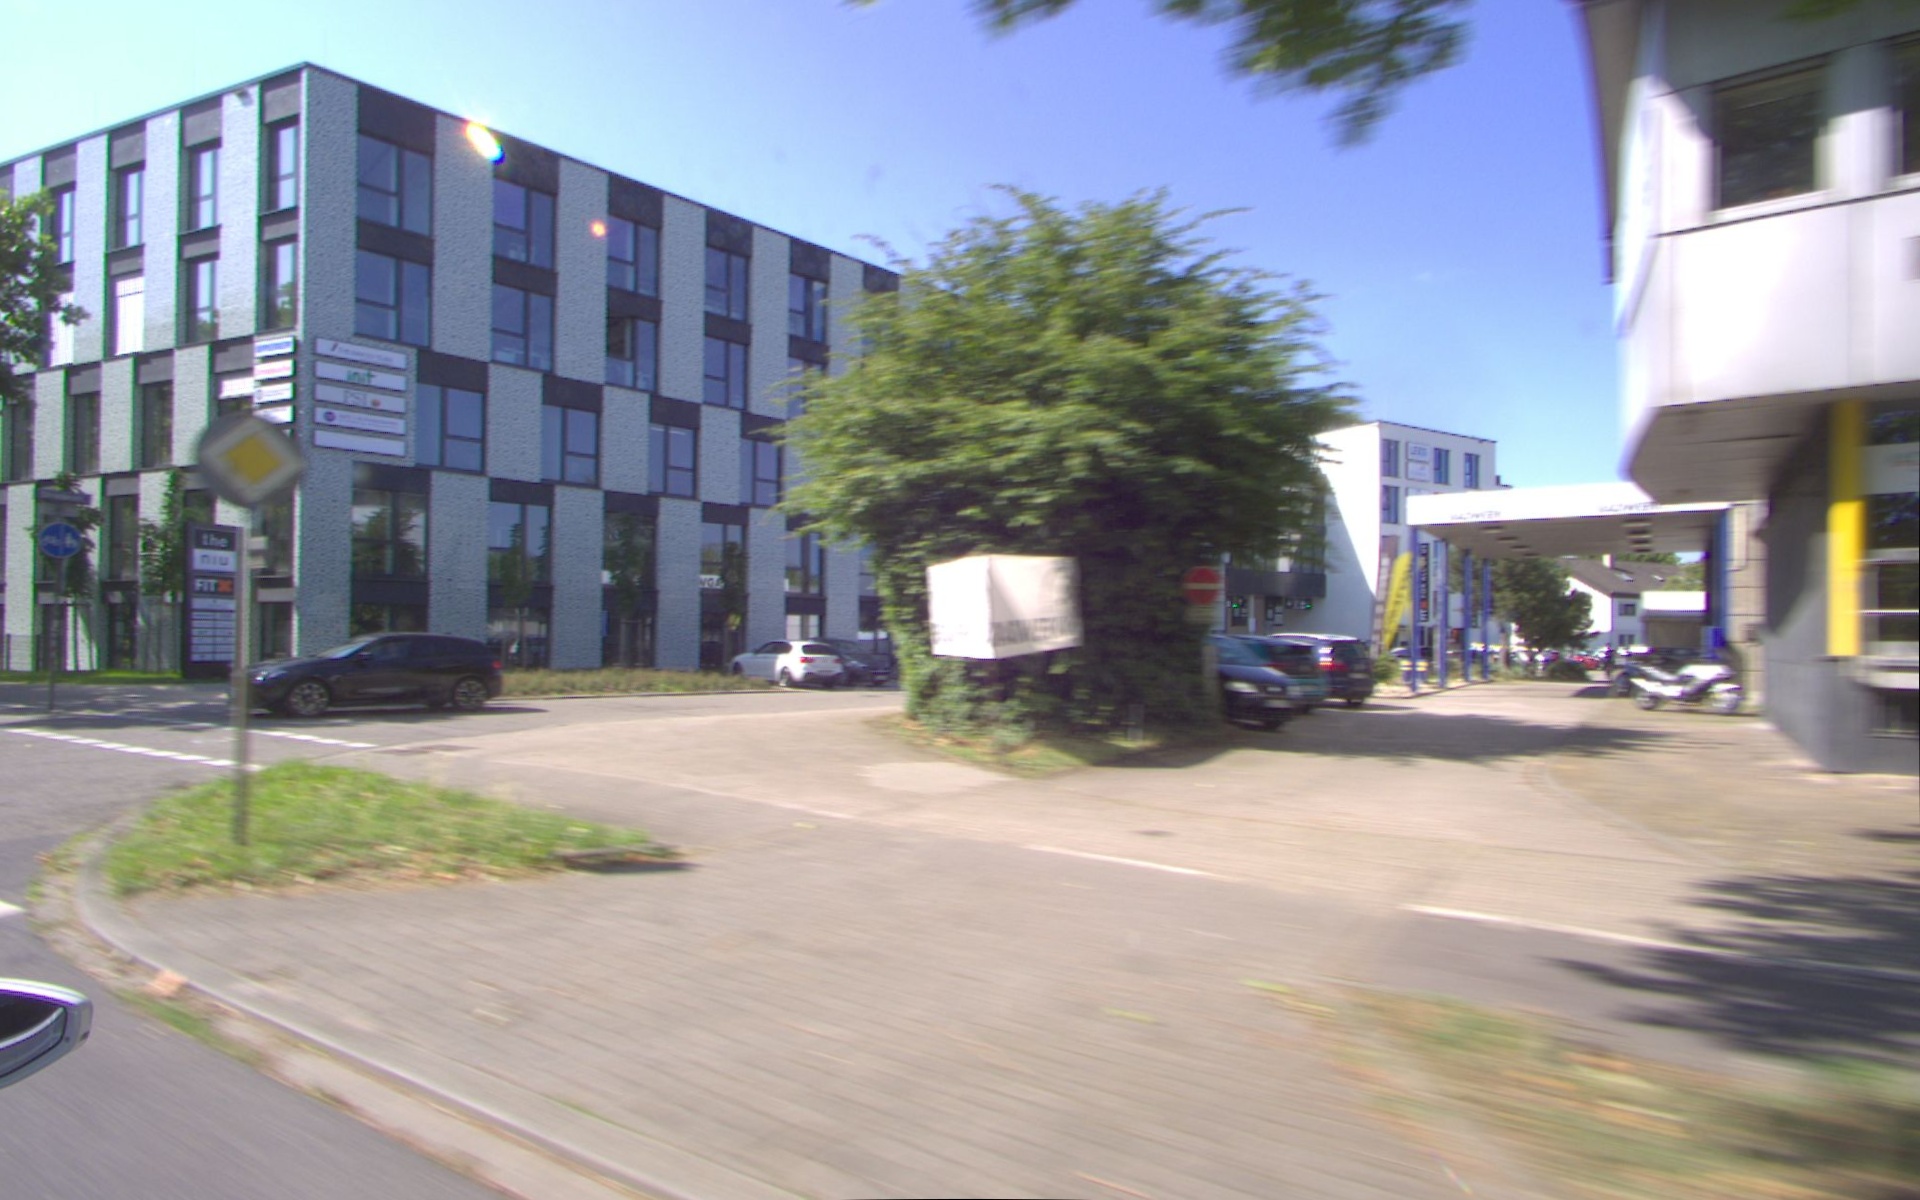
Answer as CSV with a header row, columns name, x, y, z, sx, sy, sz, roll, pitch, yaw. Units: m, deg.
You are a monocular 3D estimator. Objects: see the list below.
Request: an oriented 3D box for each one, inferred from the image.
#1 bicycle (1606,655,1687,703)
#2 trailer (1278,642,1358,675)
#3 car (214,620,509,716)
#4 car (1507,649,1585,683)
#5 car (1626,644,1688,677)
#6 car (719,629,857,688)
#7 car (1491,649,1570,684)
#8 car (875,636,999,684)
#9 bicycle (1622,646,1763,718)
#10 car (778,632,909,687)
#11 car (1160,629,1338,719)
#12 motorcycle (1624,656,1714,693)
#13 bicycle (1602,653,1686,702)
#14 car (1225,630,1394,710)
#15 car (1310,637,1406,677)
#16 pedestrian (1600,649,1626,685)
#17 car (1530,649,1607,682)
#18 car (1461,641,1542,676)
name,x,y,z,sx,sy,sz,roll,pitch,yaw
bicycle,18.095,2.063,26.413,1.711,1.163,0.804,-1,-2,40
trailer,14.038,2.290,39.219,3.194,1.194,1.584,3,-3,-41
car,-10.778,1.190,18.266,1.978,1.536,4.227,-1,-3,42
car,41.652,4.662,71.300,1.833,1.987,4.368,2,1,-33
car,43.083,3.728,61.875,3.657,1.905,1.685,4,-3,-28
car,-5.391,1.781,31.104,4.434,1.572,1.983,1,-2,45
car,39.627,4.607,69.644,1.833,1.987,4.368,2,1,-33
car,-0.878,2.152,36.538,4.434,1.571,1.983,0,-2,45
bicycle,14.882,1.630,20.409,0.810,1.368,2.166,1,-3,-33
car,-3.932,1.942,33.301,4.434,1.572,1.983,1,-2,45
car,5.987,1.477,21.180,1.653,1.683,3.738,-1,-1,-22
motorcycle,22.210,2.310,31.390,0.847,1.057,2.210,2,-2,-44
bicycle,17.538,1.973,25.690,1.711,1.163,0.804,-1,-2,40
car,7.967,1.546,23.156,1.654,1.683,3.738,1,-2,-22
car,16.516,2.344,41.444,4.217,1.536,1.983,3,-3,-41
pedestrian,30.044,3.080,46.099,0.949,1.623,0.863,0,-1,38
car,44.006,4.735,72.524,1.833,1.987,4.368,2,1,-33
car,36.350,3.889,67.367,1.833,1.987,4.368,2,1,-33
